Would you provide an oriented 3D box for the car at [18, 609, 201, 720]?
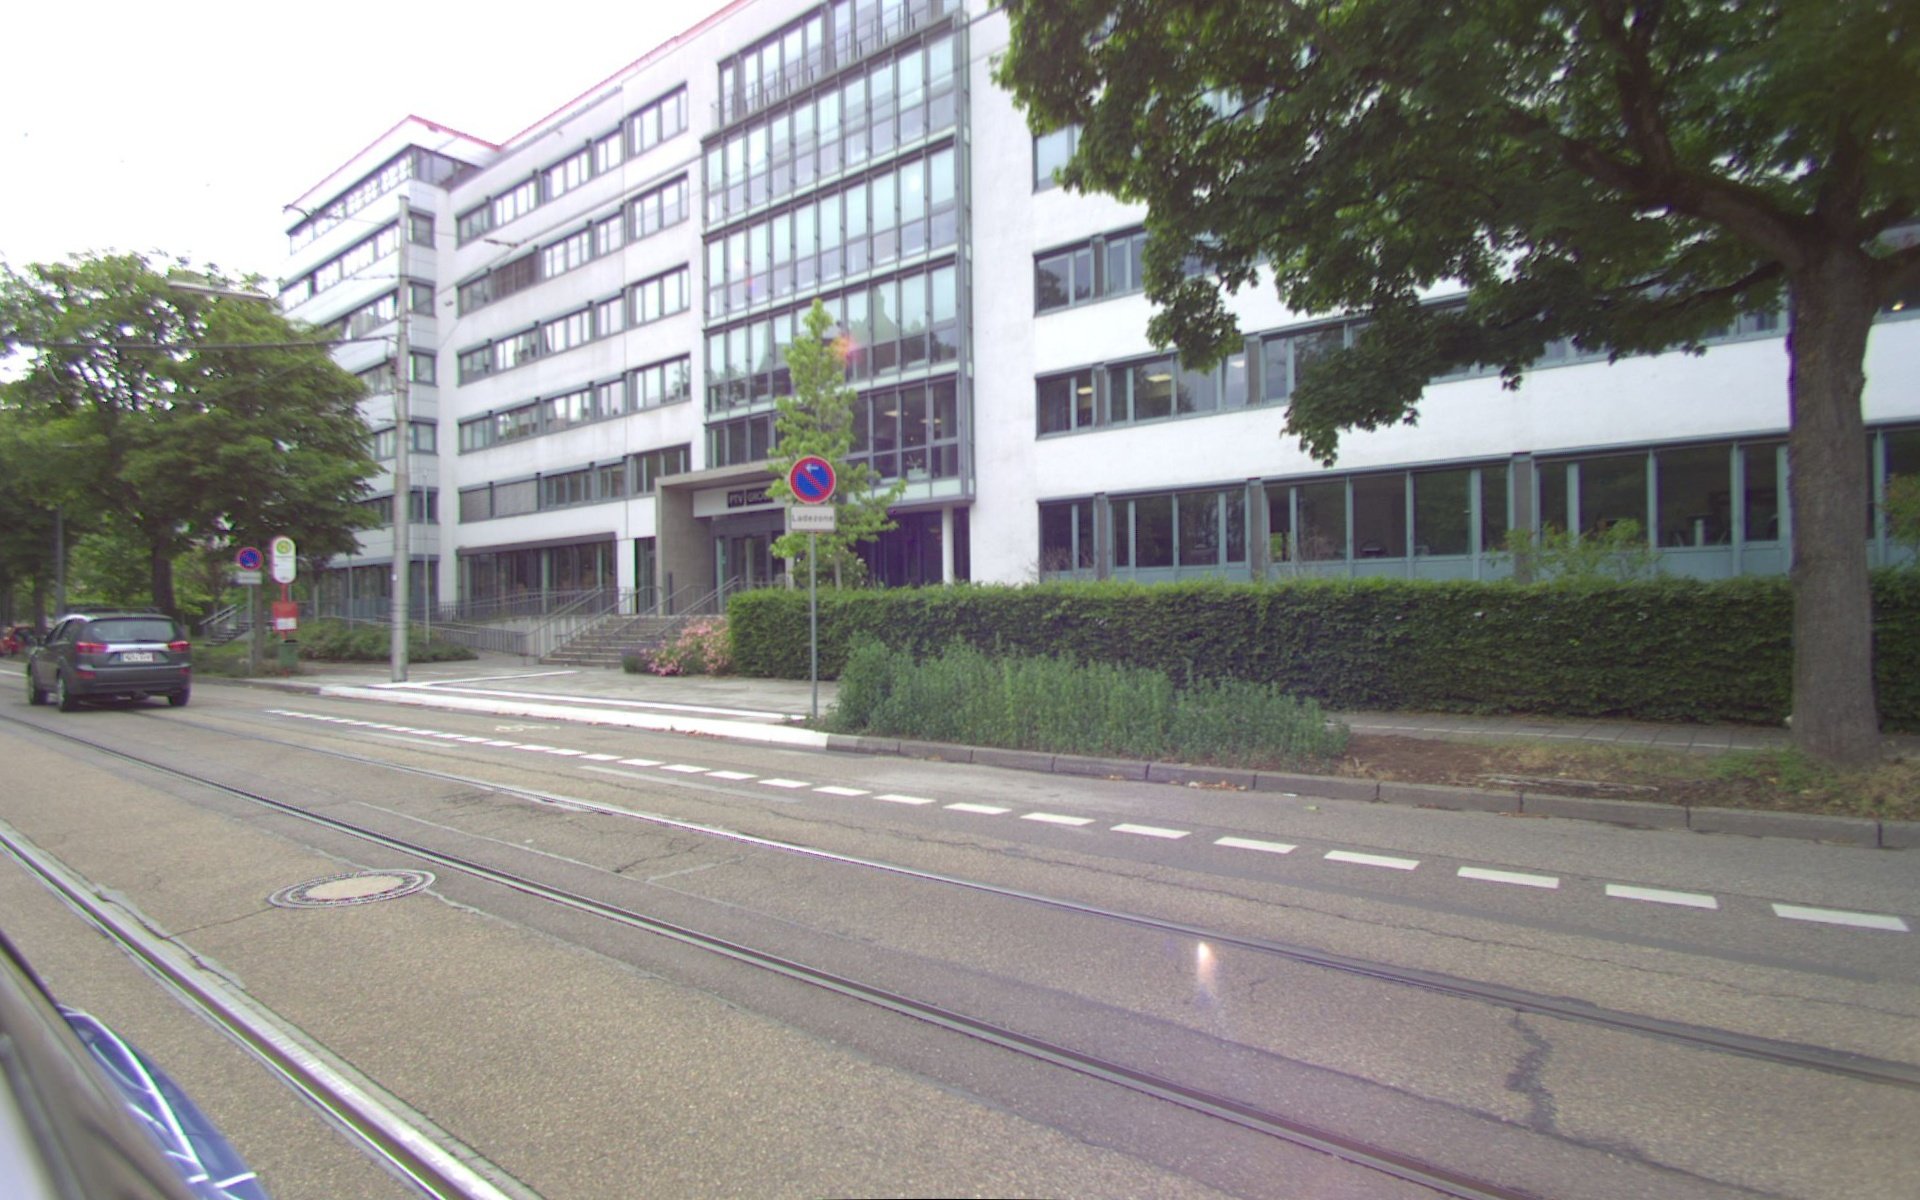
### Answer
[{"bbox_3d":[-15.370,1.063,18.221,4.331,1.751,1.809,-1,-1,40],"label":"car"}]

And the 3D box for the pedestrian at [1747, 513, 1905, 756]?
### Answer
[{"bbox_3d":[7.719,0.282,9.031,0.702,2.029,0.991,-2,1,-44],"label":"pedestrian"}]

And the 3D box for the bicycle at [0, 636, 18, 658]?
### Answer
[{"bbox_3d":[-52.070,2.555,54.839,0.616,1.149,1.455,-1,-1,38],"label":"bicycle"}]

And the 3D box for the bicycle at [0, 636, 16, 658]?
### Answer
[{"bbox_3d":[-52.490,2.562,55.123,0.616,1.149,1.455,-1,1,38],"label":"bicycle"}]

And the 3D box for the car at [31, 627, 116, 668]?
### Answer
[{"bbox_3d":[-36.257,1.903,41.355,4.748,1.504,1.863,-2,0,39],"label":"car"}]

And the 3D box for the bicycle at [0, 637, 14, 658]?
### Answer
[{"bbox_3d":[-51.502,2.547,53.946,0.614,1.100,1.461,-1,1,27],"label":"bicycle"}]

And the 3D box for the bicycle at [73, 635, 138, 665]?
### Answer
[{"bbox_3d":[-32.722,1.914,38.769,0.630,1.108,1.791,-1,-2,33],"label":"bicycle"}]

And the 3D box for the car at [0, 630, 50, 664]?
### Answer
[{"bbox_3d":[-46.279,2.288,49.652,3.750,1.458,1.614,-1,2,36],"label":"car"}]

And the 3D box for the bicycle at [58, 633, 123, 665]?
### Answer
[{"bbox_3d":[-33.768,1.905,39.338,0.632,1.195,1.844,-2,-2,43],"label":"bicycle"}]
